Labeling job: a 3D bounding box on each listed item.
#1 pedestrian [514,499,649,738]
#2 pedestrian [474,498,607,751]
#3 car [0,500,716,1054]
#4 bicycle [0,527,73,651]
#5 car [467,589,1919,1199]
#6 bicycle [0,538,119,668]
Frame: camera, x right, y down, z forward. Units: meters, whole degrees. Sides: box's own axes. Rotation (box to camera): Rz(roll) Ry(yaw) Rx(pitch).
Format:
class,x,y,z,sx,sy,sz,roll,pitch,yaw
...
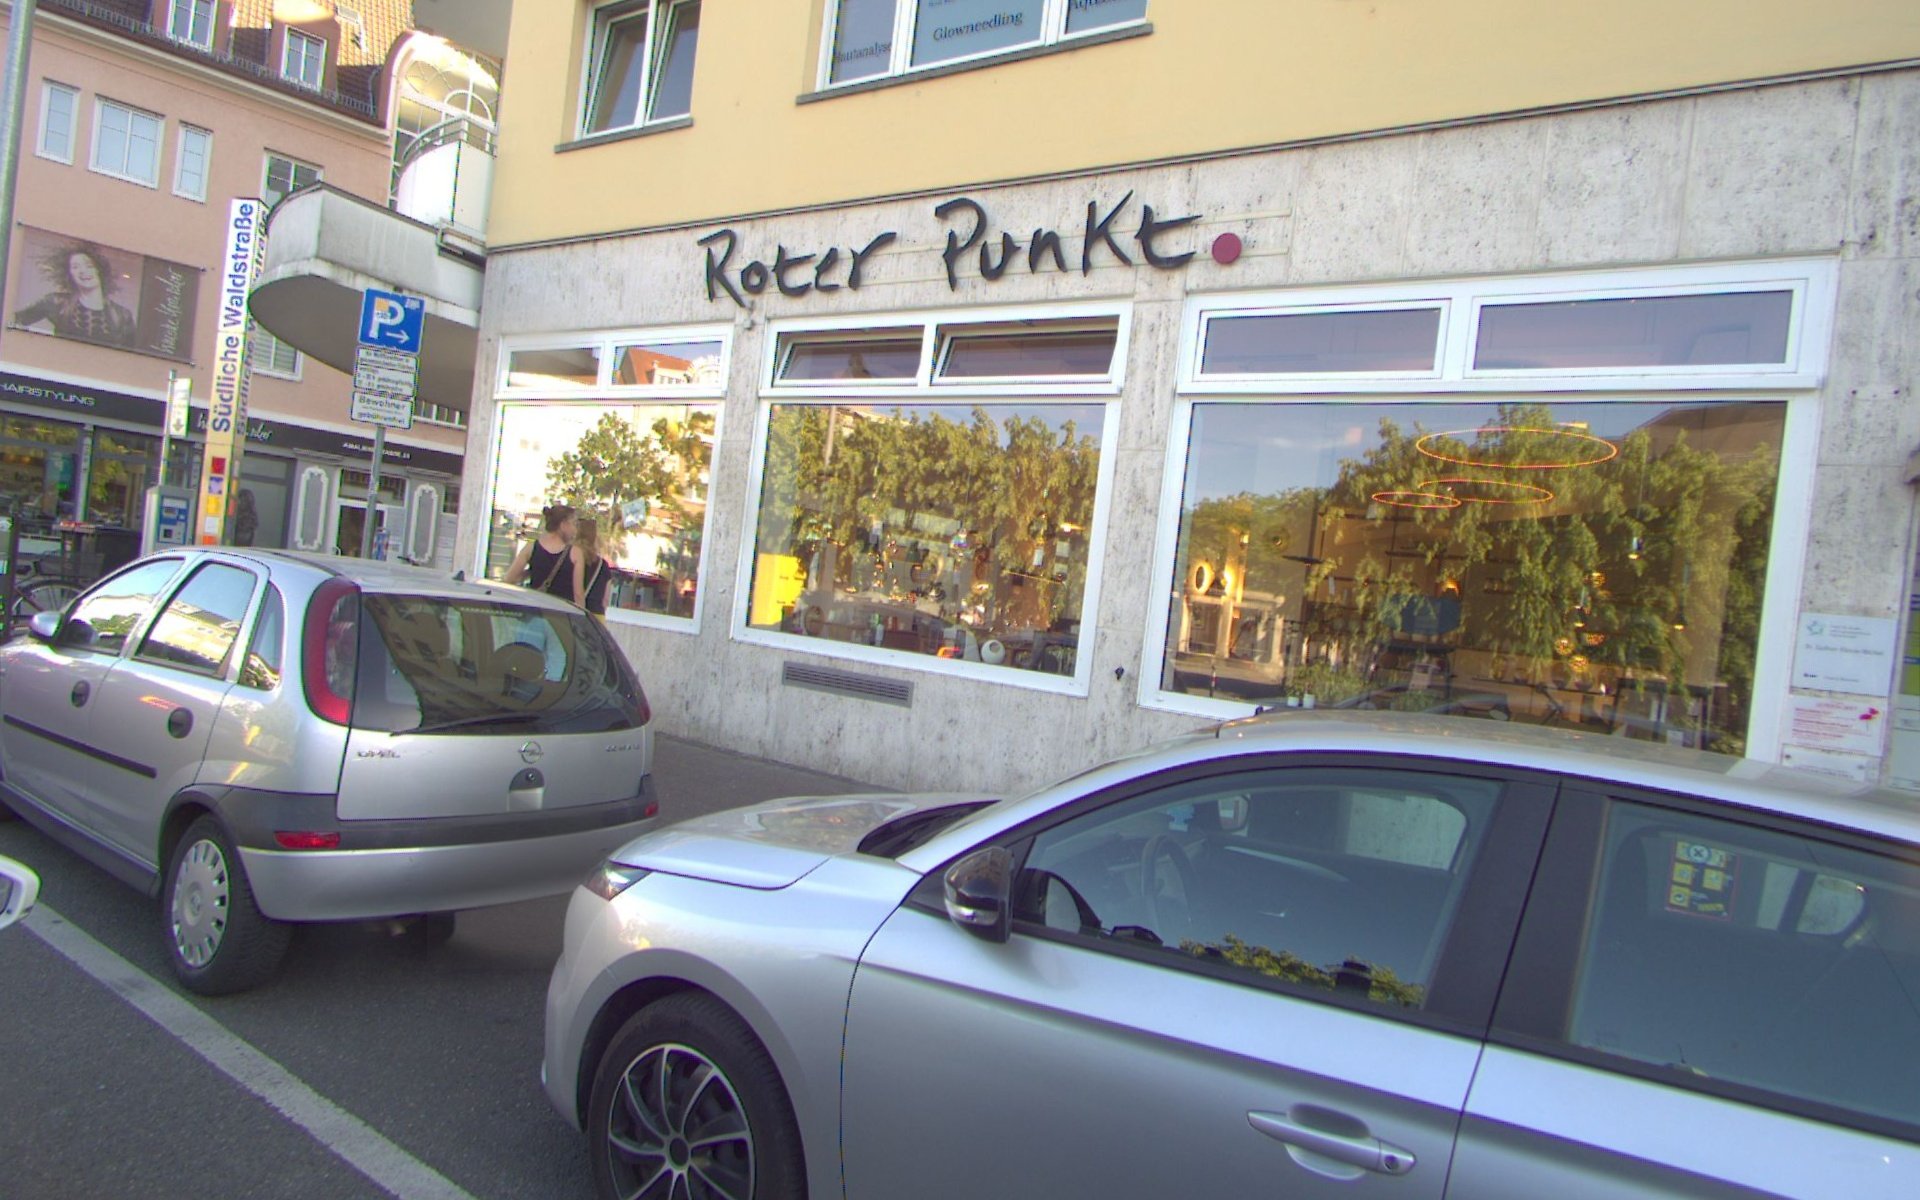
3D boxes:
class,x,y,z,sx,sy,sz,roll,pitch,yaw
pedestrian,-3.064,0.155,8.135,0.735,1.805,0.563,7,0,-32
pedestrian,-3.004,0.178,7.261,0.649,1.685,0.645,7,0,-18
car,-2.934,0.472,4.441,3.419,1.407,1.548,8,0,33
bicycle,-9.066,-0.141,8.796,0.408,1.101,1.872,6,1,35
car,0.775,0.928,2.274,3.598,1.444,1.550,6,-2,30
bicycle,-8.122,0.003,8.193,0.348,1.051,1.871,6,1,38
